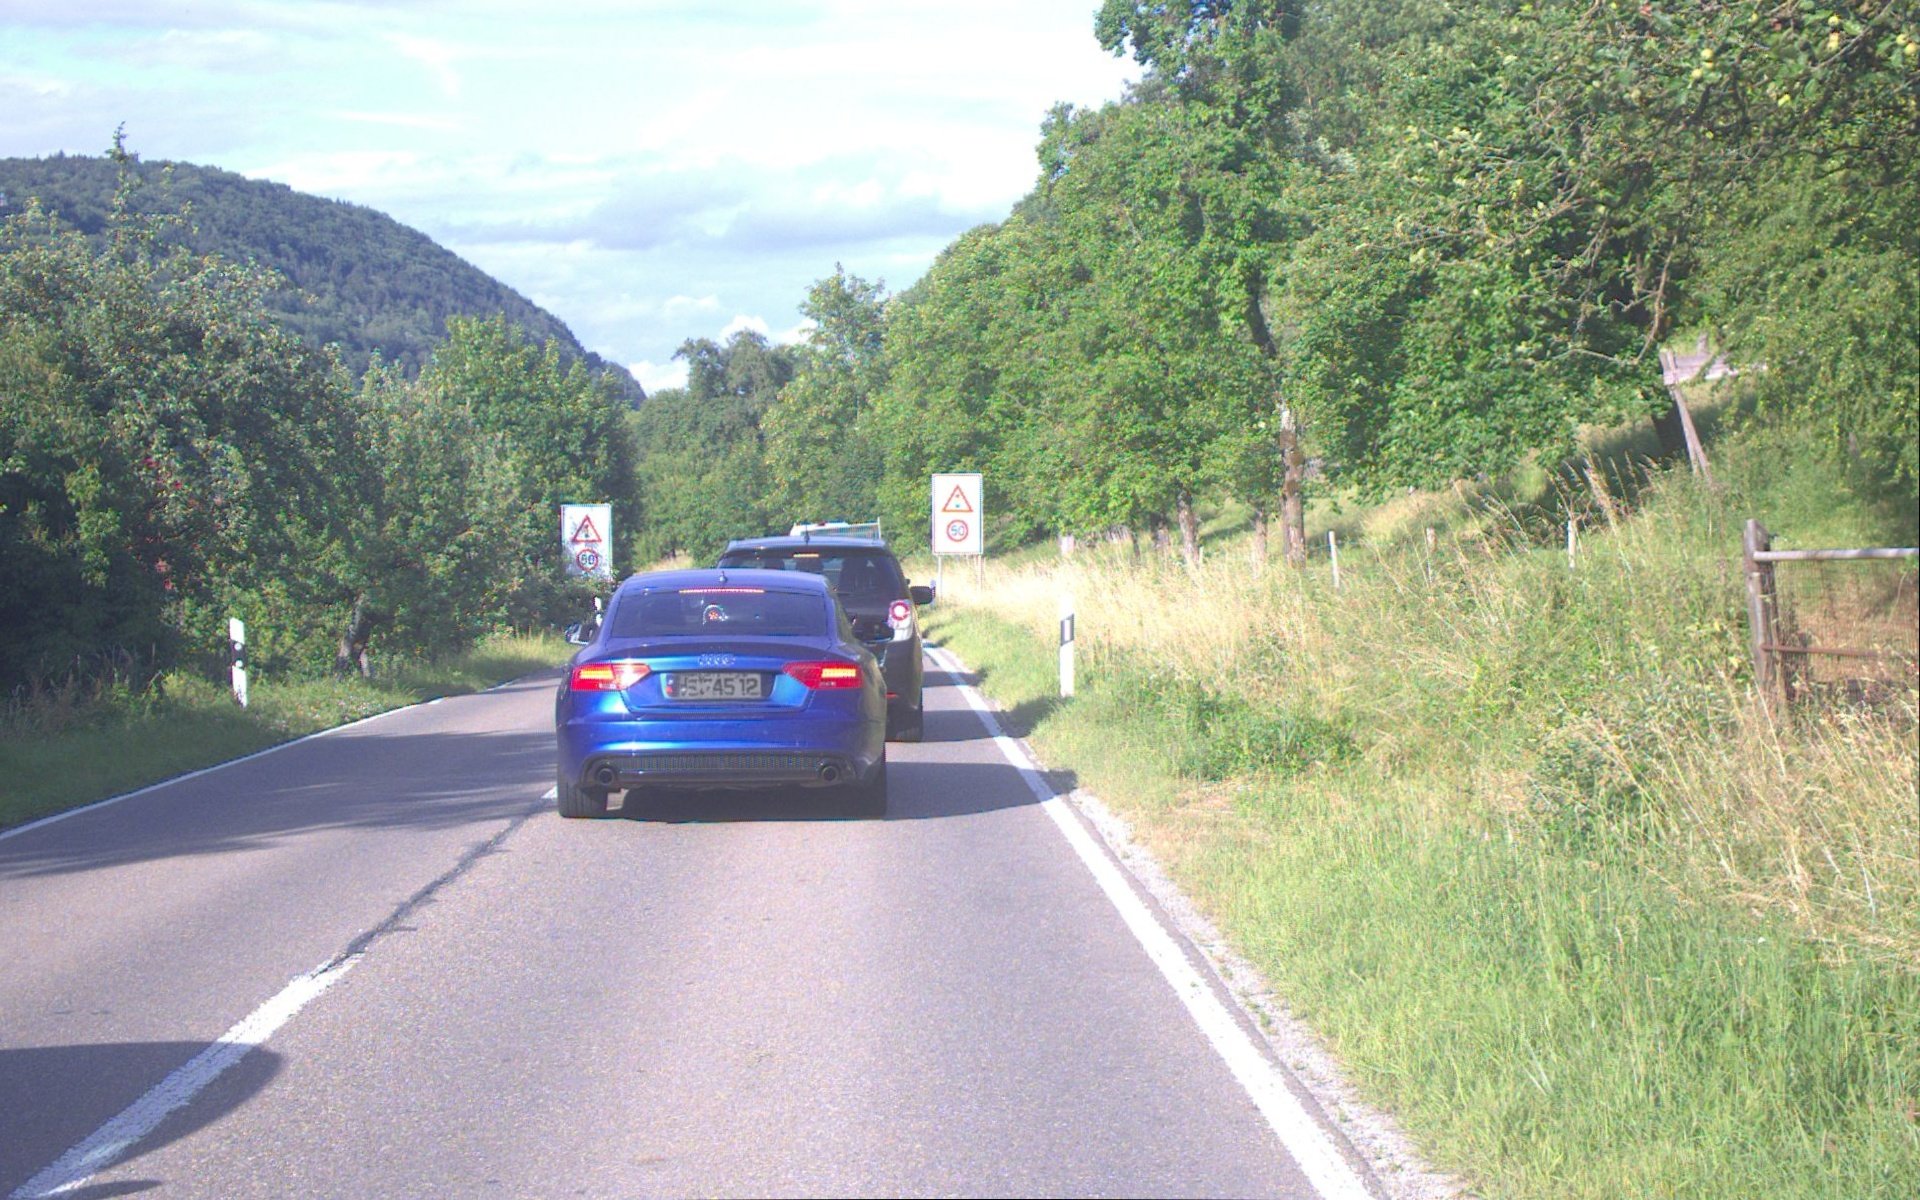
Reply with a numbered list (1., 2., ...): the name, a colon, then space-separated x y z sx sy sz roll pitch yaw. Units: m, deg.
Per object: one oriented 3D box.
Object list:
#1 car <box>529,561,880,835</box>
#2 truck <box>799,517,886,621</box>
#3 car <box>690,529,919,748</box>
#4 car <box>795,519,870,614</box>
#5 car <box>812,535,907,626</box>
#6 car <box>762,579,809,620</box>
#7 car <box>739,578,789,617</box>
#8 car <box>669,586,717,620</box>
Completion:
1. car: -1.381 0.485 19.995 1.805 1.377 4.215 -1 1 -1
2. truck: -2.800 -0.733 81.004 1.949 2.337 5.094 1 1 -3
3. car: -1.230 0.258 27.640 1.692 1.618 3.789 -1 1 -2
4. car: -3.408 -0.885 91.423 1.792 2.445 3.920 1 1 -5
5. car: -1.878 -0.379 63.661 1.692 1.618 3.789 -1 1 -2
6. car: -6.545 -0.023 128.675 1.558 1.491 3.779 1 1 -6
7. car: -7.927 -0.107 138.795 1.558 1.491 3.779 1 1 -10
8. car: -12.385 0.141 159.336 1.558 1.491 3.779 1 1 -14
